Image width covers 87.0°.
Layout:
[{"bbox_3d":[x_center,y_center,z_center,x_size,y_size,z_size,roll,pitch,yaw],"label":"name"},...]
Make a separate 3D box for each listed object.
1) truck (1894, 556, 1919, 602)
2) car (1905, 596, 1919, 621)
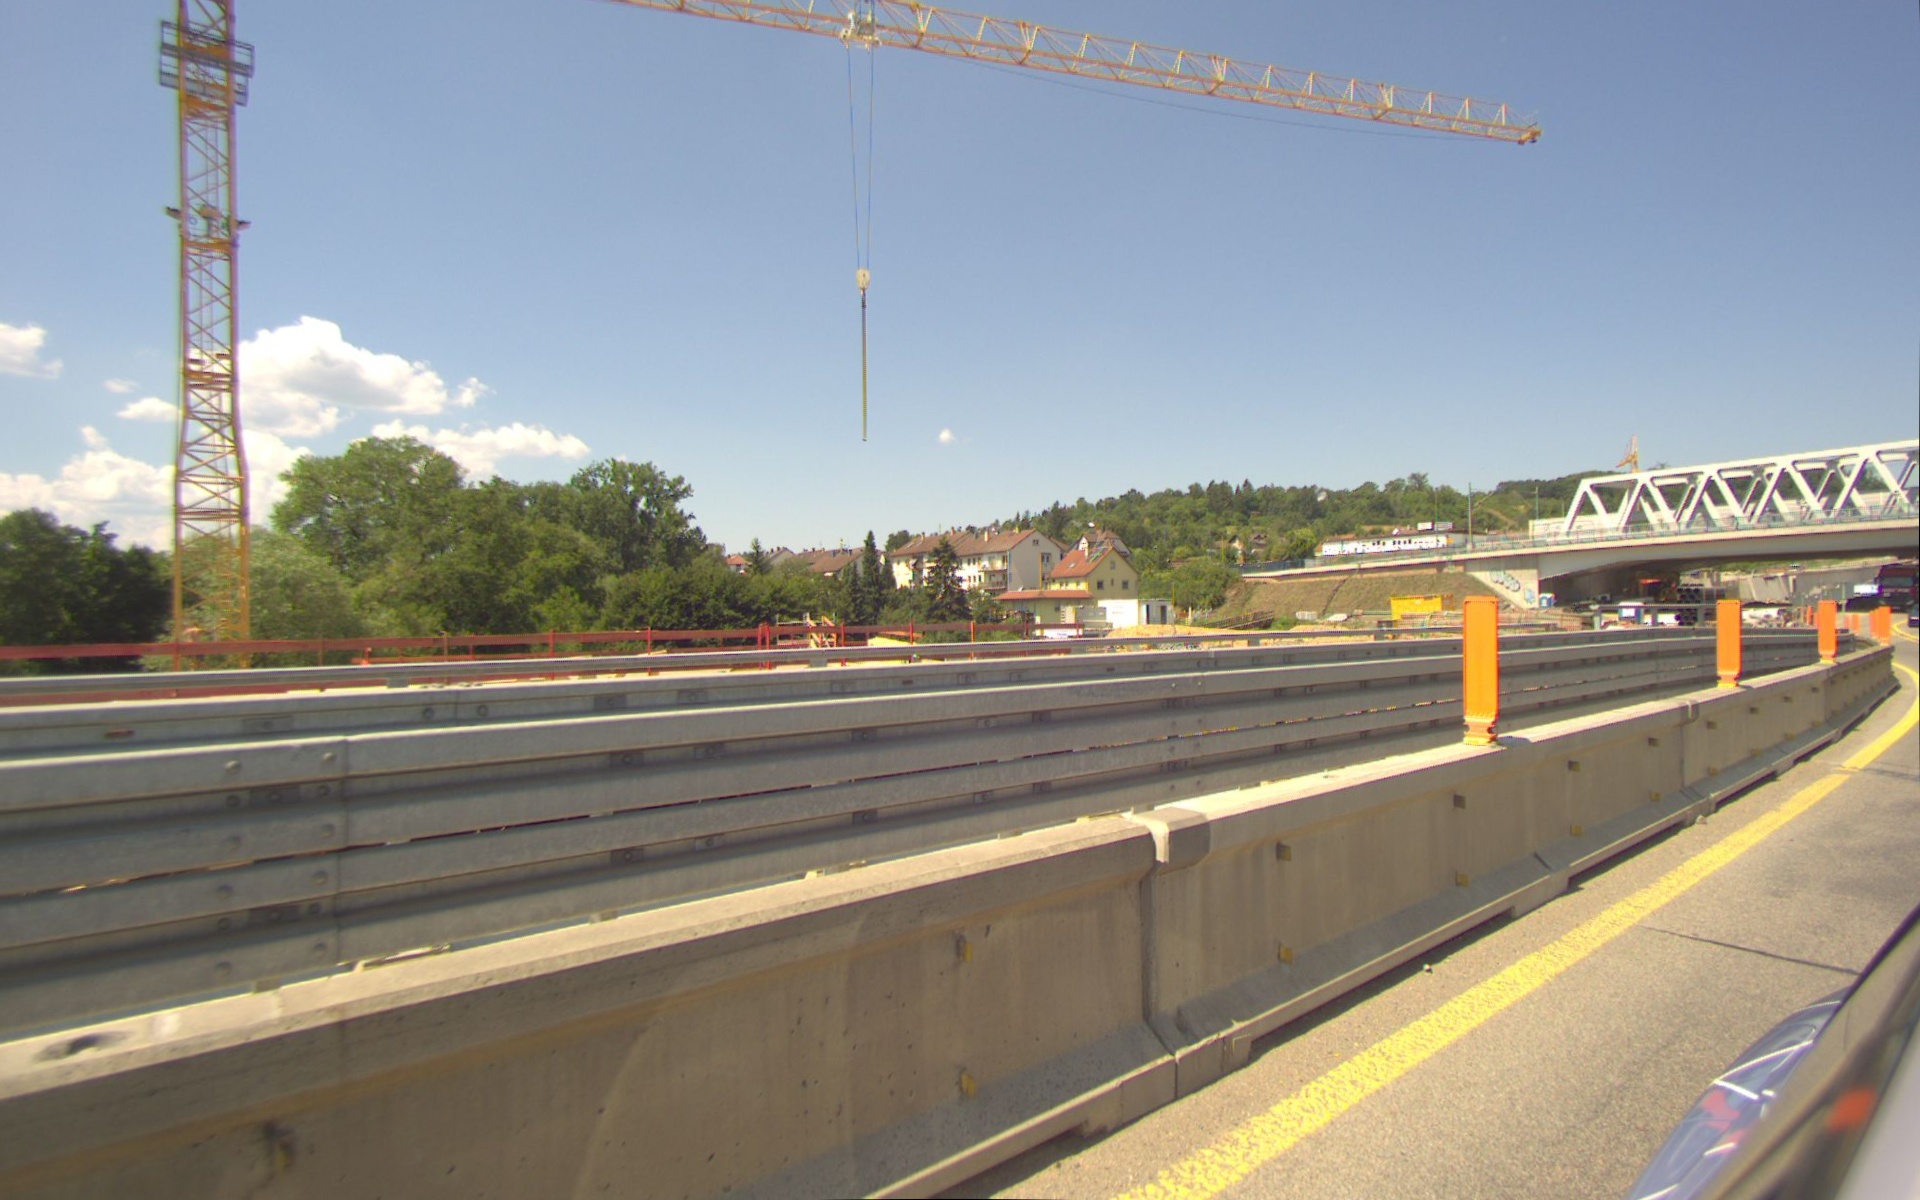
[{"bbox_3d":[81.724,-1.754,86.390,2.695,3.773,8.378,2,1,42],"label":"truck"},{"bbox_3d":[62.360,0.543,65.228,1.784,1.608,3.943,-2,-2,39],"label":"car"}]
